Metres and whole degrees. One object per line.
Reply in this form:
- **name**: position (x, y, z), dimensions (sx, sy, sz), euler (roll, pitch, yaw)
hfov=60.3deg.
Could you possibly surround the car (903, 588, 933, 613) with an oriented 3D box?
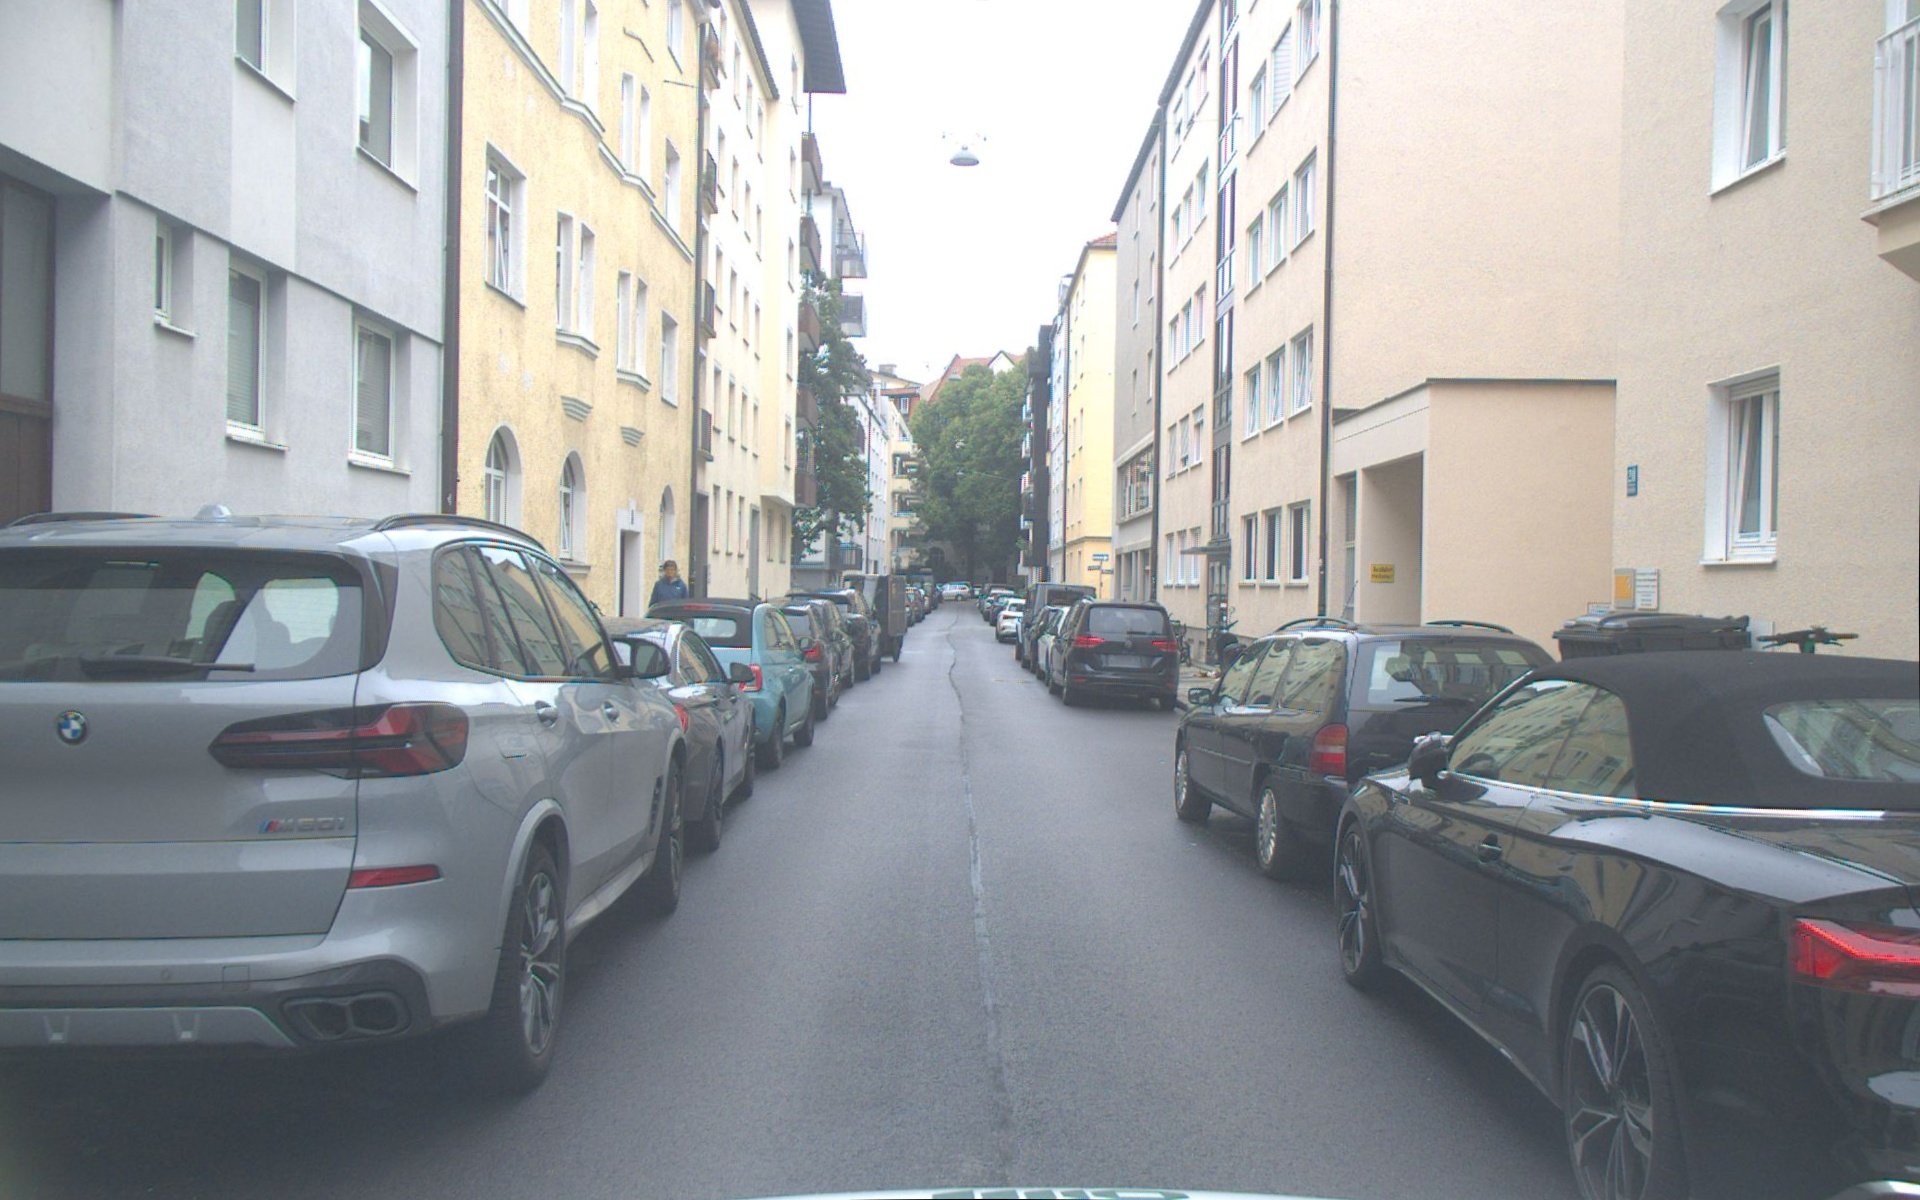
- **car**: position (-2.635, 0.037, 103.842), dimensions (1.740, 1.478, 4.046), euler (-2, 1, 0)

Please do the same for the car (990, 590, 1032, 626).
- **car**: position (2.333, 0.351, 76.732), dimensions (1.715, 1.494, 4.343), euler (4, 1, 0)

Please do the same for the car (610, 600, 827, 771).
- **car**: position (-2.249, 0.746, 16.161), dimensions (1.530, 1.486, 3.405), euler (0, 0, 1)

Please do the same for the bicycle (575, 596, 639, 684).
- **bicycle**: position (-5.299, 0.584, 24.898), dimensions (0.581, 1.255, 1.736), euler (2, 0, -1)

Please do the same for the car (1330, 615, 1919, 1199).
- **car**: position (2.531, 0.811, 5.135), dimensions (1.795, 1.430, 4.411), euler (2, 0, 1)

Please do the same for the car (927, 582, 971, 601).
- **car**: position (-0.979, -0.758, 147.144), dimensions (3.807, 1.612, 1.647), euler (-2, 0, -1)

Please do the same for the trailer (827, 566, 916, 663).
- **trailer**: position (-2.032, 0.325, 38.744), dimensions (1.326, 2.153, 3.321), euler (1, 0, 9)

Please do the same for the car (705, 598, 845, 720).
- **car**: position (-2.394, 0.720, 22.139), dimensions (1.531, 1.486, 3.763), euler (0, 0, -2)

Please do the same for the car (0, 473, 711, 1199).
- **car**: position (-2.173, 0.606, 6.395), dimensions (1.825, 1.801, 4.734), euler (-1, 0, -2)

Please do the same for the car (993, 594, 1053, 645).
- **car**: position (2.132, 0.652, 56.888), dimensions (1.782, 1.432, 3.952), euler (2, 3, -1)

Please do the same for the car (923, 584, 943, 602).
- **car**: position (-2.196, -0.592, 136.640), dimensions (1.609, 1.408, 3.482), euler (-2, 1, -1)

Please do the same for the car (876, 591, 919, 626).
- **car**: position (-2.705, 0.352, 72.086), dimensions (1.658, 1.467, 3.942), euler (0, 1, 0)

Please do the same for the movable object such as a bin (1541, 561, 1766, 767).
- **movable object such as a bin**: position (5.211, 0.456, 12.554), dimensions (1.011, 1.448, 1.586), euler (-1, 0, -1)

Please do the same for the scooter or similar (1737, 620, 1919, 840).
- **scooter or similar**: position (5.450, 0.777, 10.407), dimensions (0.564, 1.289, 1.136), euler (-1, 0, -1)

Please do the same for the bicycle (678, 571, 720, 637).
- **bicycle**: position (-5.371, 0.081, 34.155), dimensions (0.582, 1.301, 1.551), euler (3, 0, -2)

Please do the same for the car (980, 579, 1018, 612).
- **car**: position (2.030, -0.267, 87.095), dimensions (1.648, 1.594, 4.414), euler (4, 1, -2)

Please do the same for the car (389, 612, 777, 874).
- **car**: position (-2.339, 0.810, 11.368), dimensions (1.775, 1.410, 4.249), euler (-1, 0, -2)

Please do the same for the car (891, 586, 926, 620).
- **car**: position (-2.635, 0.132, 85.599), dimensions (1.740, 1.657, 4.414), euler (0, 1, 0)

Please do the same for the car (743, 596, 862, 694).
- **car**: position (-2.508, 0.682, 27.018), dimensions (1.530, 1.486, 3.476), euler (0, 0, 1)

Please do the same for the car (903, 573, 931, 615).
- **car**: position (-3.061, -0.438, 118.412), dimensions (1.897, 2.850, 4.532), euler (-2, 1, 0)

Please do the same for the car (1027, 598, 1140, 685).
- **car**: position (2.338, 0.759, 32.294), dimensions (1.677, 1.512, 4.242), euler (2, 0, -2)

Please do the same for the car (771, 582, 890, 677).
- **car**: position (-2.428, 0.527, 31.918), dimensions (1.840, 1.689, 4.415), euler (0, 0, 1)

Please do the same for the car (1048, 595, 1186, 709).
- **car**: position (2.451, 0.783, 26.740), dimensions (1.677, 1.636, 4.243), euler (2, 0, -1)

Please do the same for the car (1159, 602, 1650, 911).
- **car**: position (2.532, 0.800, 10.629), dimensions (1.682, 1.497, 4.529), euler (2, 0, -3)

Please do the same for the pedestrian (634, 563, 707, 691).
- **pedestrian**: position (-4.182, 0.382, 23.939), dimensions (0.822, 1.795, 1.067), euler (2, 0, -1)

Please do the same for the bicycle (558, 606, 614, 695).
- **bicycle**: position (-5.349, 0.701, 23.726), dimensions (0.430, 1.211, 1.632), euler (2, 0, -1)

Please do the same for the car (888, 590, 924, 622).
- **car**: position (-2.575, 0.267, 79.614), dimensions (1.658, 1.467, 3.976), euler (0, 1, -1)

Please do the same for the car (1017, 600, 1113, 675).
- **car**: position (2.309, 0.800, 37.230), dimensions (1.677, 1.512, 4.242), euler (2, 0, -2)

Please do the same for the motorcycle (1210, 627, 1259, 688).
- **motorcycle**: position (4.842, 0.997, 29.262), dimensions (0.472, 0.984, 1.911), euler (-3, 0, -1)

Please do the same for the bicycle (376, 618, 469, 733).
- **bicycle**: position (-5.260, 0.713, 16.256), dimensions (0.387, 1.049, 1.570), euler (1, 0, -1)

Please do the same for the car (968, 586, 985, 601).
- **car**: position (1.655, -0.685, 164.229), dimensions (1.609, 1.408, 3.745), euler (-2, 1, 0)

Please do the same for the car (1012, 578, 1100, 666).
- **car**: position (2.383, 0.511, 41.952), dimensions (1.716, 2.009, 4.341), euler (3, 1, -2)

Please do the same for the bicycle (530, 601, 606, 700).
- **bicycle**: position (-5.188, 0.649, 21.977), dimensions (0.581, 1.255, 1.736), euler (2, 0, -1)
